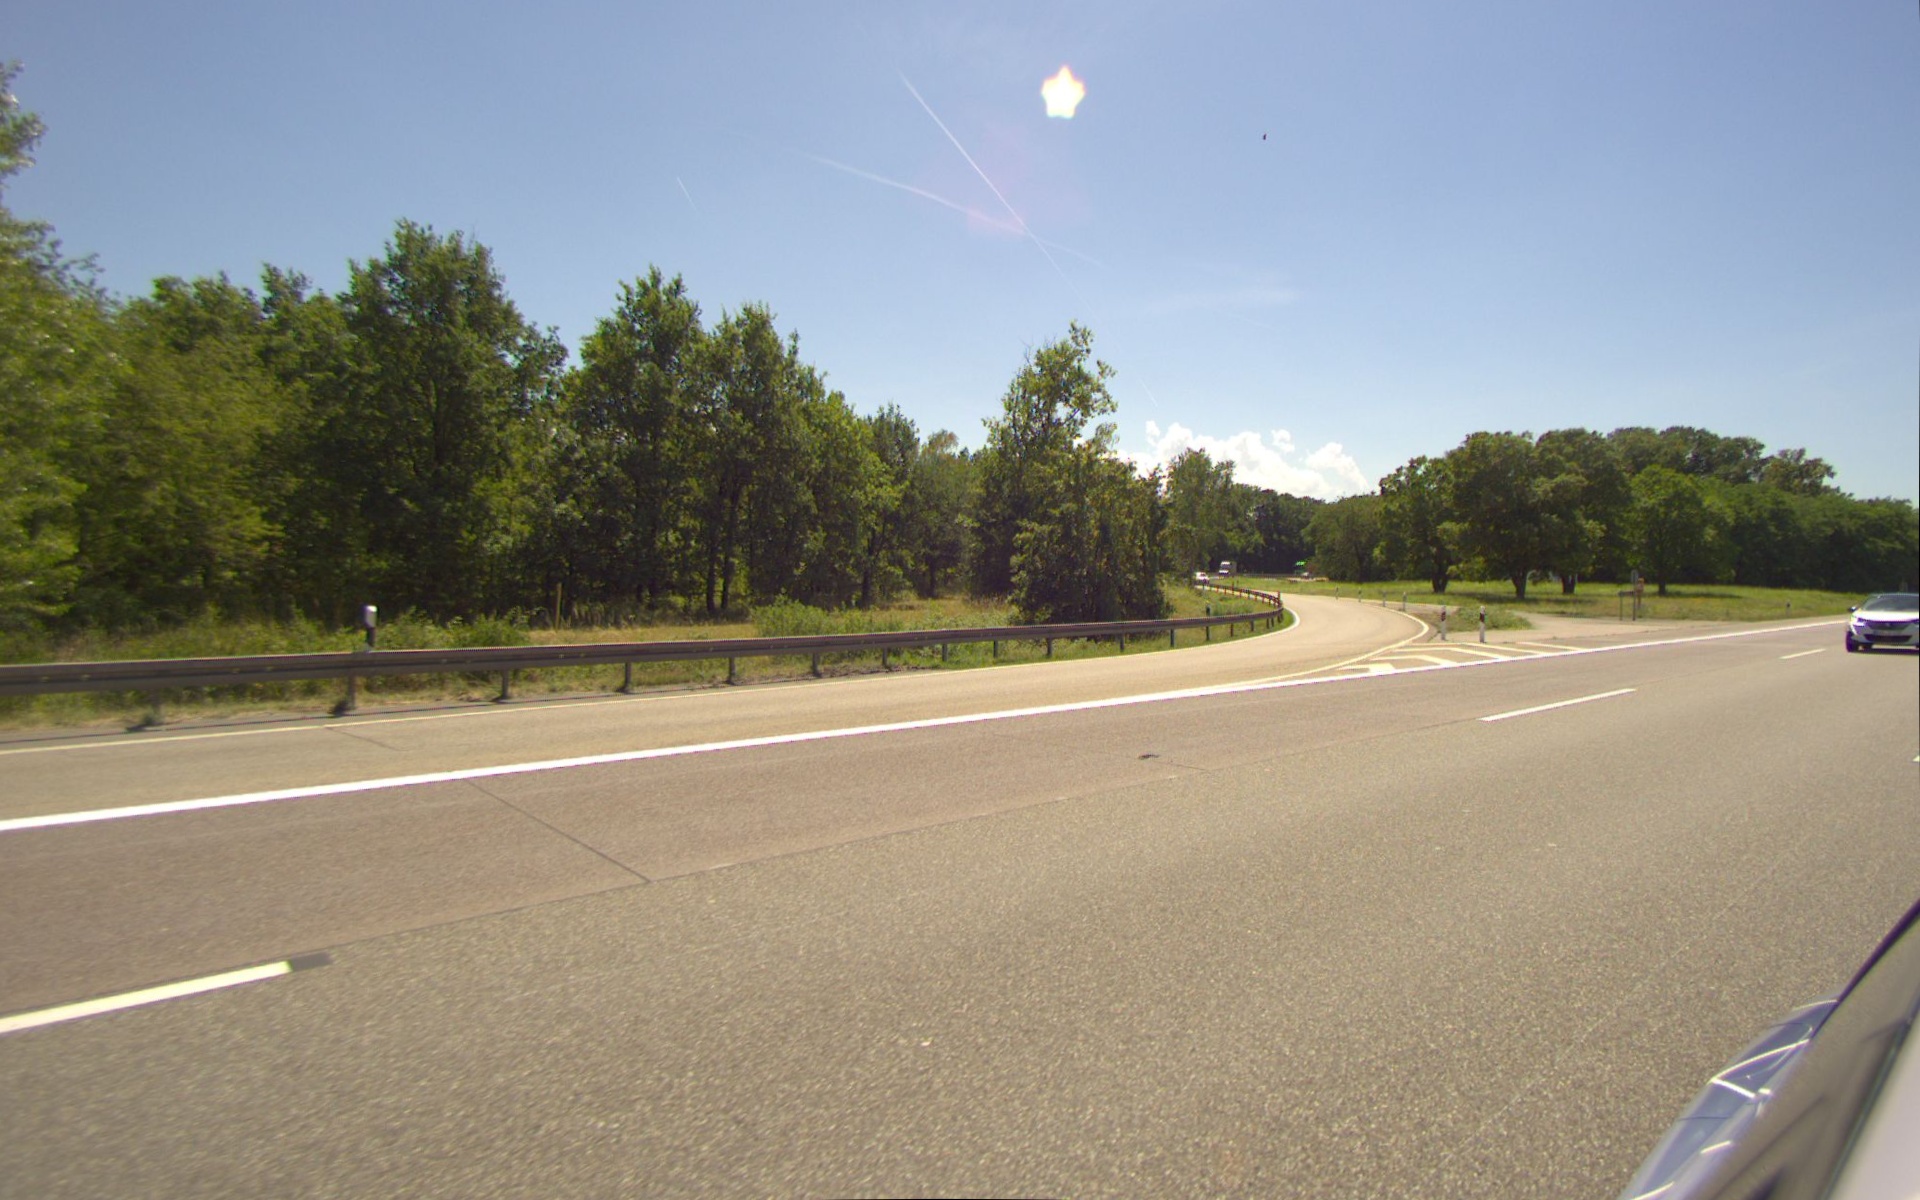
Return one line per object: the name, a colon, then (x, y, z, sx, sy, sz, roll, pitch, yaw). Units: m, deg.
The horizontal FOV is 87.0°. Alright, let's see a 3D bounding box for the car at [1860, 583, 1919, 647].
car: (25.244, 0.358, 26.647, 3.930, 1.593, 1.844, -1, 1, -41)
